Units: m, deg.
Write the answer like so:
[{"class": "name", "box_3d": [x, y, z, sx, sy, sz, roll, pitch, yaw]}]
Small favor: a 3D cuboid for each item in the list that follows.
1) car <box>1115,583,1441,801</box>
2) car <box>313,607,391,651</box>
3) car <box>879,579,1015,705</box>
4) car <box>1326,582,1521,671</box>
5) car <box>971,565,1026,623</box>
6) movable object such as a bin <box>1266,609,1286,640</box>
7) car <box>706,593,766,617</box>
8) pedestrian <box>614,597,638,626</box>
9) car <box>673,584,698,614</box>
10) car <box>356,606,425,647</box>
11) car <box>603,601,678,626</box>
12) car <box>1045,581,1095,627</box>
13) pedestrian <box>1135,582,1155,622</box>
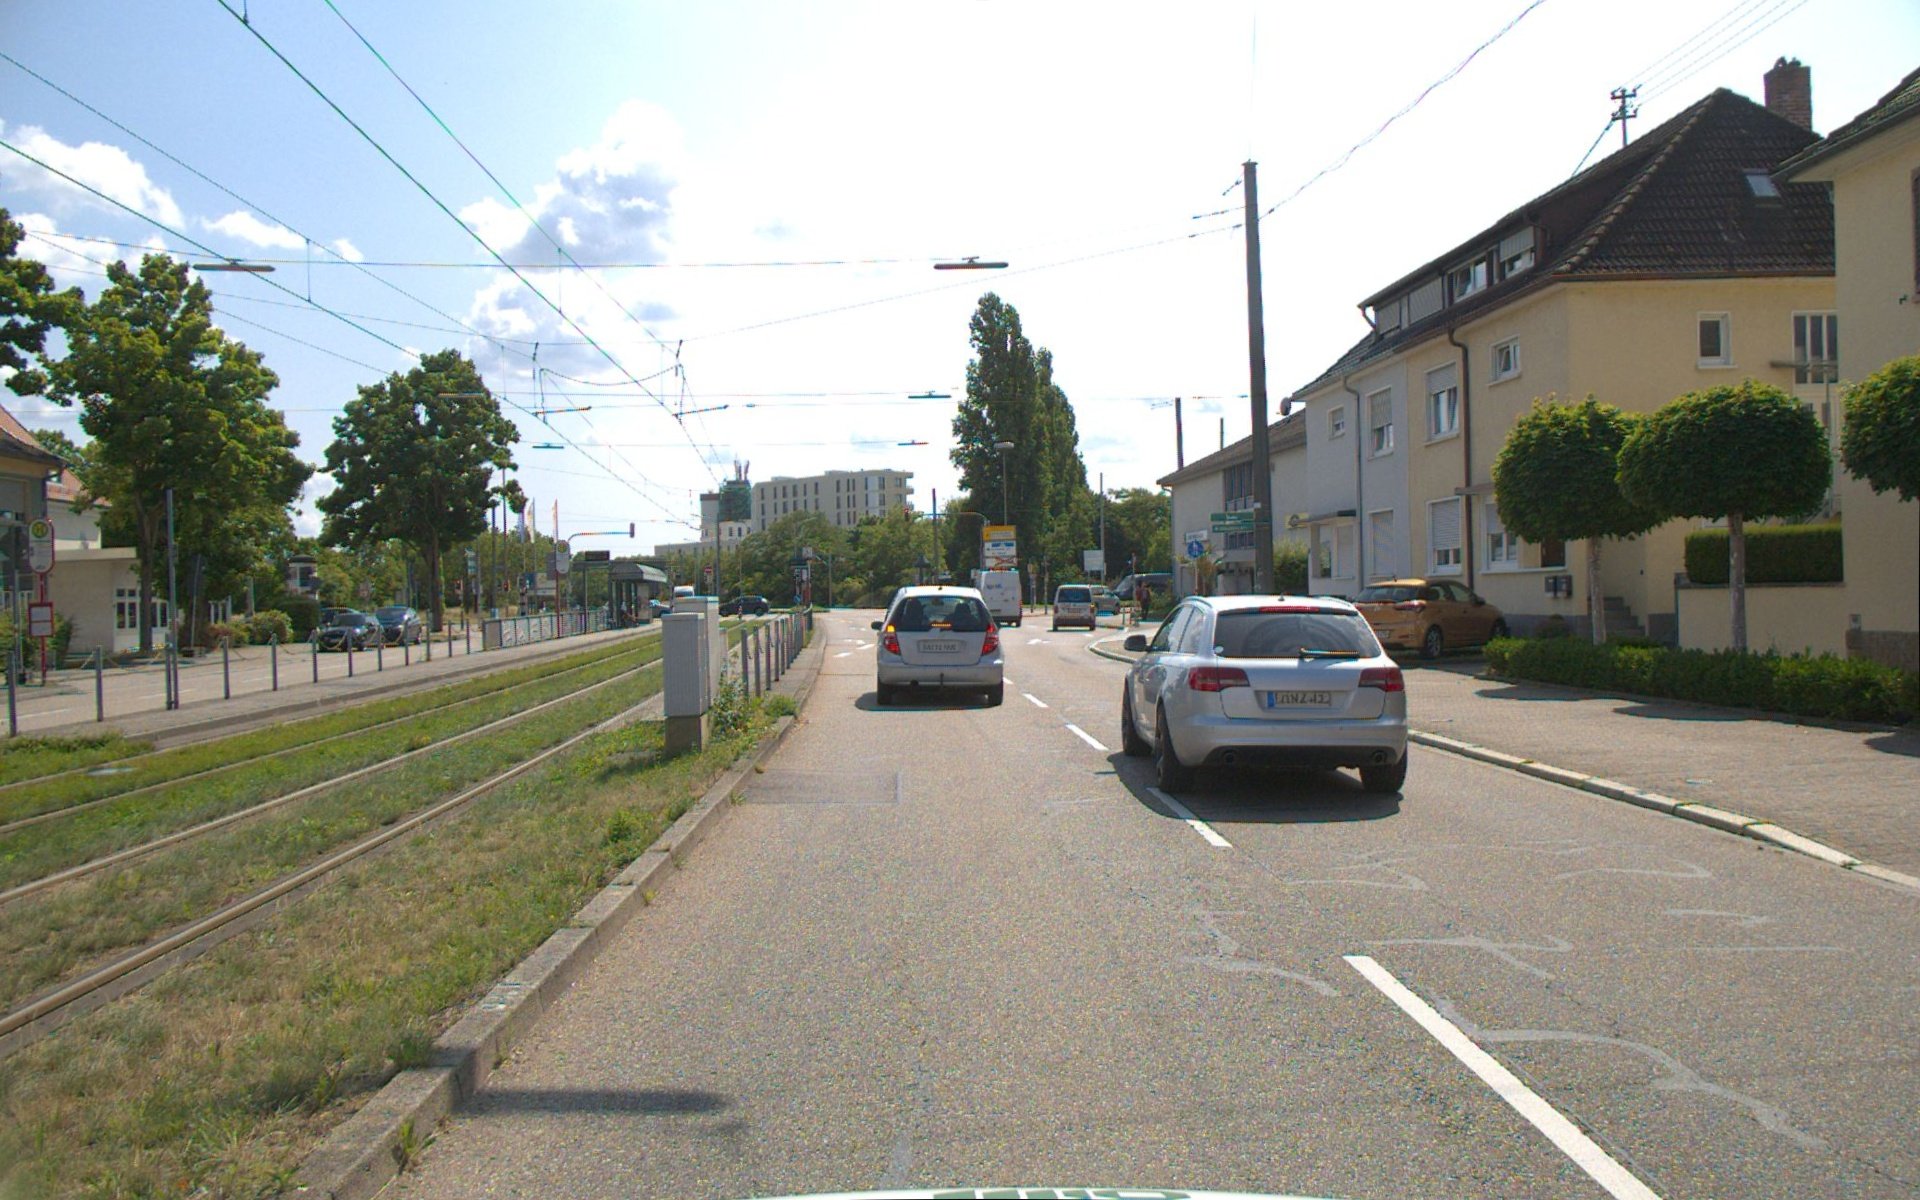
[{"class": "car", "box_3d": [2.425, 0.645, 13.787, 1.817, 1.518, 4.535, 0, 0, -1]}, {"class": "car", "box_3d": [-23.459, 1.103, 63.940, 1.751, 1.612, 3.928, -1, 0, -3]}, {"class": "car", "box_3d": [-0.243, 0.549, 23.738, 1.751, 1.604, 4.092, 1, 0, -2]}, {"class": "car", "box_3d": [8.925, 0.451, 31.693, 1.884, 1.483, 4.065, 0, 2, 44]}, {"class": "car", "box_3d": [1.772, -0.268, 77.987, 2.001, 2.602, 5.225, -1, 0, -5]}, {"class": "movable object such as a bin", "box_3d": [9.676, 0.751, 50.646, 0.433, 0.951, 0.548, -1, 0, -10]}, {"class": "car", "box_3d": [-16.965, 0.414, 125.248, 4.265, 1.769, 1.999, 1, -1, -2]}, {"class": "pedestrian", "box_3d": [-16.295, 0.542, 80.735, 1.038, 1.400, 0.859, 1, -1, -5]}, {"class": "car", "box_3d": [-24.543, -0.045, 147.949, 1.956, 2.651, 4.870, 1, -1, -7]}, {"class": "car", "box_3d": [-24.096, 1.101, 70.136, 2.023, 1.642, 4.741, -1, 0, -11]}, {"class": "car", "box_3d": [-21.954, 0.942, 113.692, 4.765, 1.689, 1.999, 1, -1, -2]}, {"class": "car", "box_3d": [4.453, 0.167, 66.588, 1.845, 1.761, 4.097, -1, 0, 5]}, {"class": "pedestrian", "box_3d": [8.598, 0.104, 76.885, 0.707, 1.814, 0.702, -3, 0, -3]}]
